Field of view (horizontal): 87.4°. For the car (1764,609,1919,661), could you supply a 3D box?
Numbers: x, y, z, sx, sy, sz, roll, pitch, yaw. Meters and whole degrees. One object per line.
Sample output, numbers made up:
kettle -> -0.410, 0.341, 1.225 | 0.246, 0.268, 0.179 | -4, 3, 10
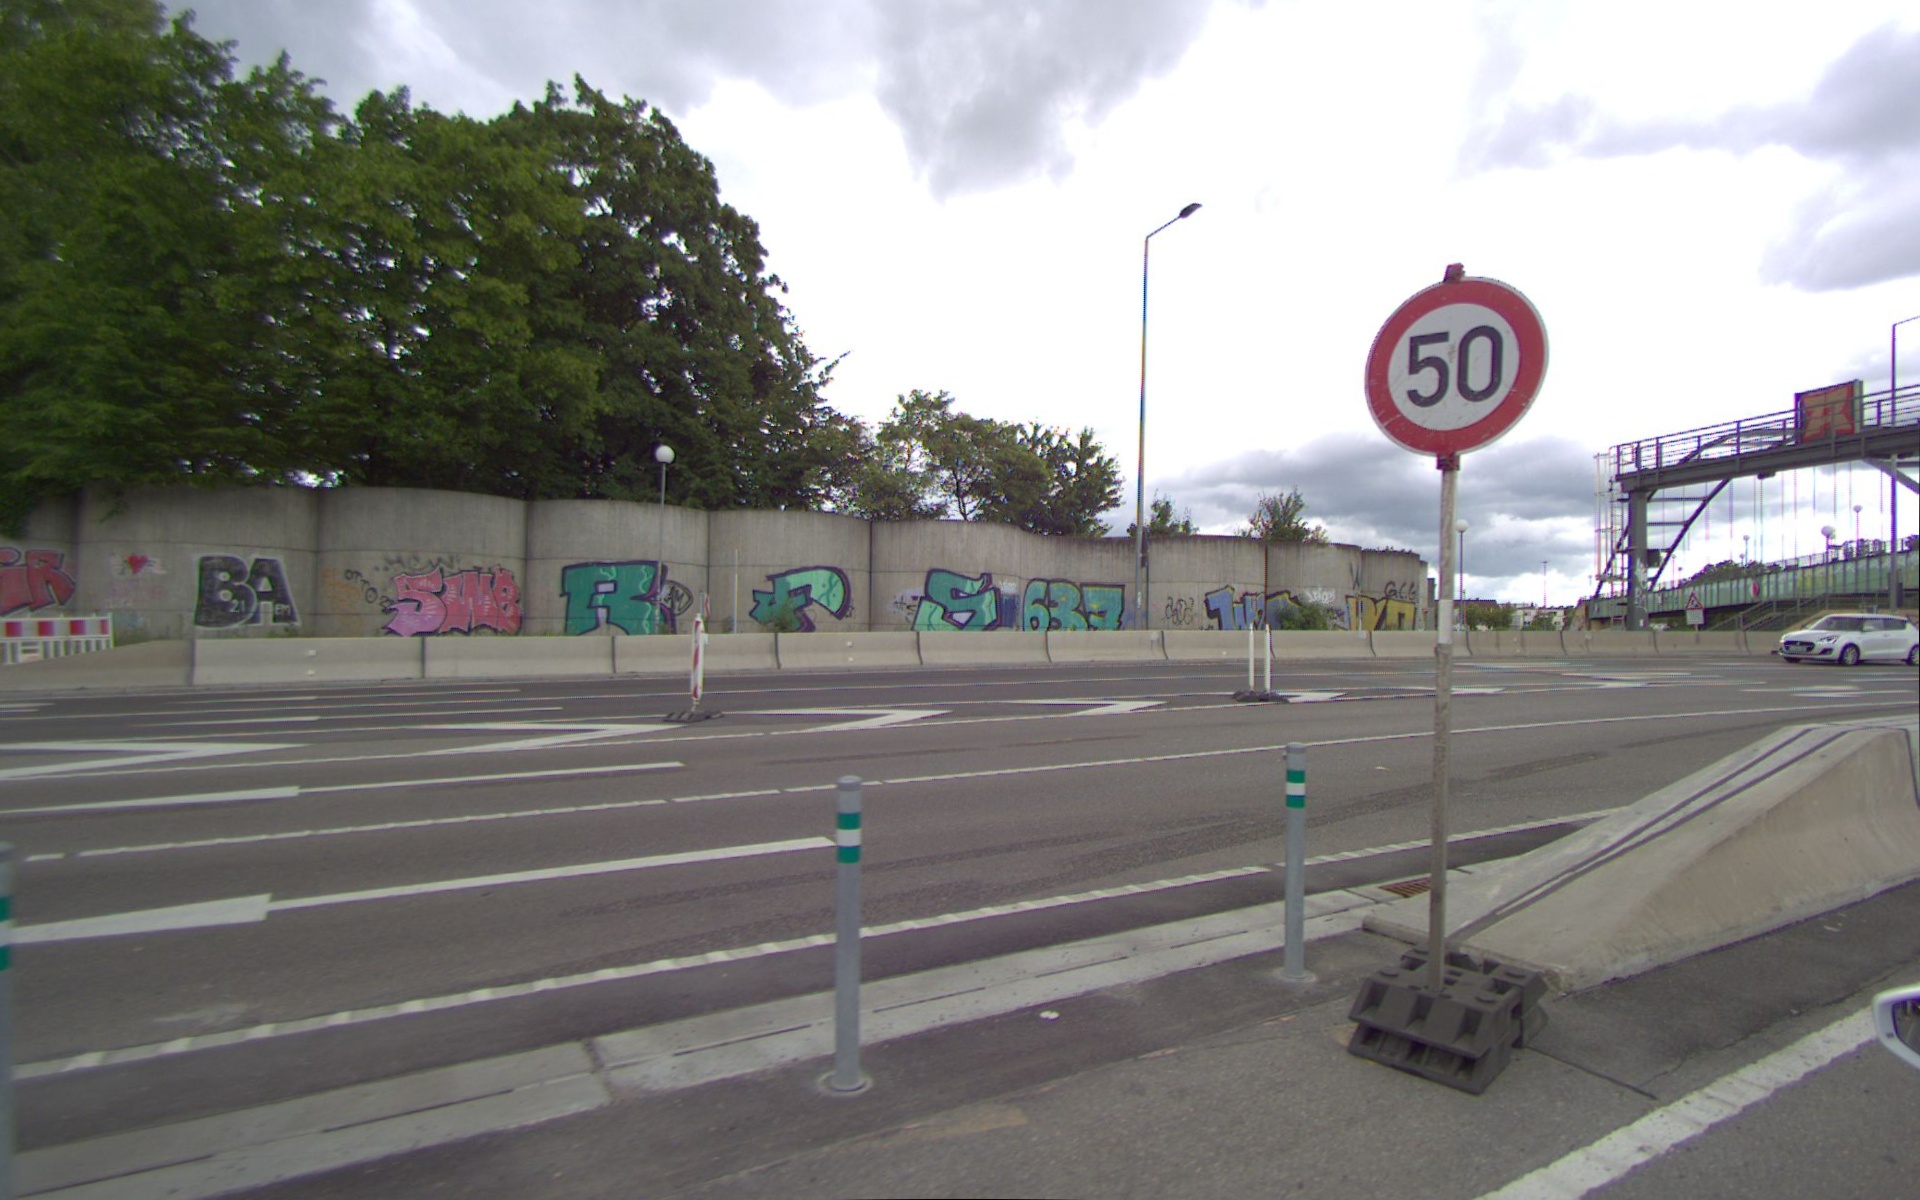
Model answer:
car -> 26.111, 1.026, 29.404 | 4.069, 1.453, 1.763 | 1, -1, -9
